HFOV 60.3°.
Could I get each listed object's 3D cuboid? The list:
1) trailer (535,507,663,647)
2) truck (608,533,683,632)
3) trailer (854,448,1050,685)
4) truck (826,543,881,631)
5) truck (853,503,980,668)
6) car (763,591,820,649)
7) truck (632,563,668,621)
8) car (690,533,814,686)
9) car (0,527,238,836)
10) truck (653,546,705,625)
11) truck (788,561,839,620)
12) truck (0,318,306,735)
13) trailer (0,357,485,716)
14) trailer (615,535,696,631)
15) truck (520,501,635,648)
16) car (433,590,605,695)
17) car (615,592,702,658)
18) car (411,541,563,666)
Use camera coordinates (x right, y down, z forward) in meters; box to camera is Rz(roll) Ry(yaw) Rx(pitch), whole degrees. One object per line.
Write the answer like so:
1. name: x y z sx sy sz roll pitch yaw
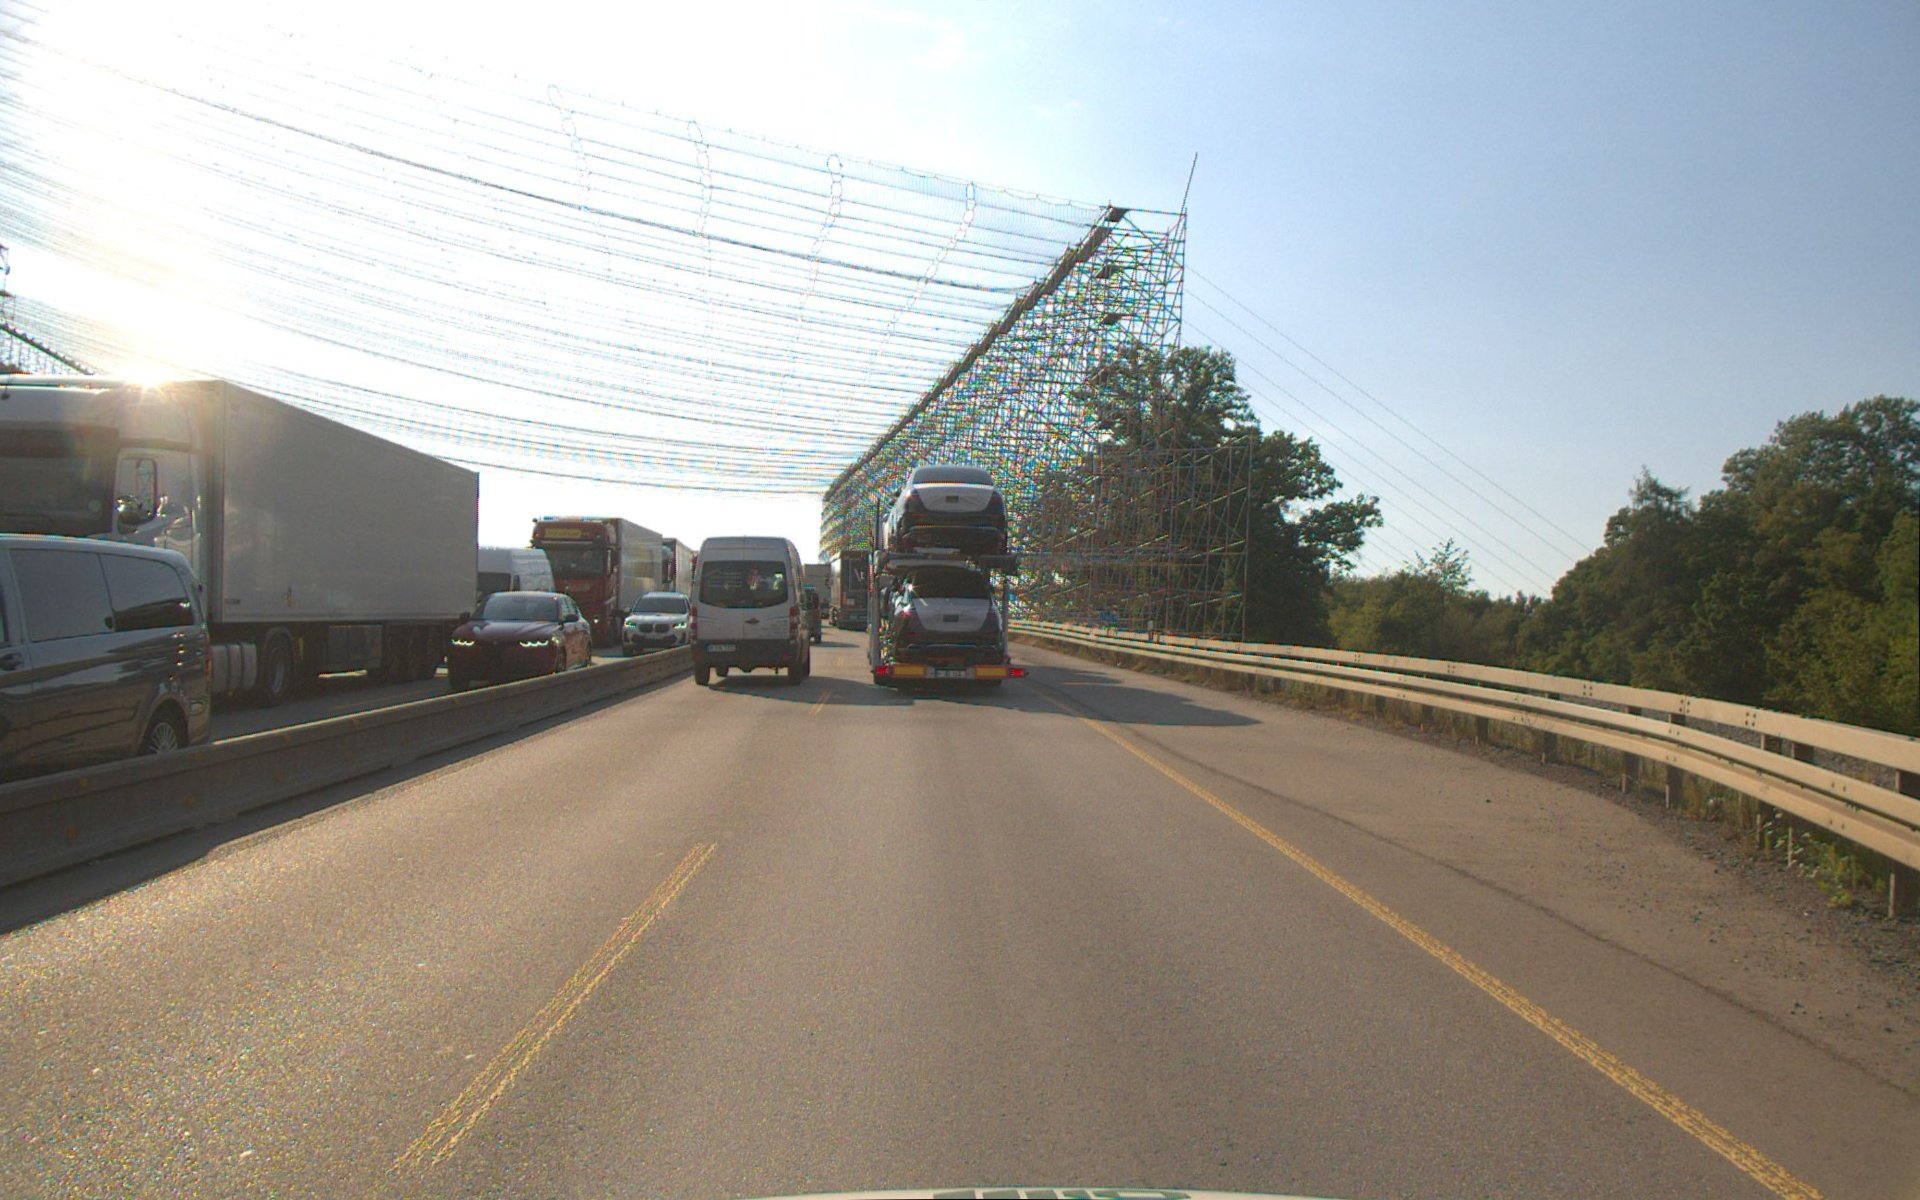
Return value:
1. trailer: -12.642 -0.691 59.204 2.712 4.409 13.865 1 0 -5
2. truck: -13.861 -0.728 73.310 2.734 4.214 5.925 1 0 -6
3. trailer: -0.601 -0.496 34.084 2.813 3.790 14.931 1 0 -5
4. truck: -5.832 -0.693 90.251 2.678 4.462 11.512 2 0 -4
5. truck: -1.238 -0.315 41.701 2.825 3.767 7.318 1 0 -4
6. car: -6.209 0.731 60.900 1.955 2.049 3.994 1 -1 -6
7. truck: -23.733 -0.632 126.518 2.615 4.304 6.087 1 0 -11
8. car: -3.825 0.104 31.030 1.917 2.666 3.999 1 2 -2
9. car: -6.515 0.446 10.402 1.768 1.803 5.450 1 1 -3
10. truck: -15.691 -0.783 92.596 2.736 4.214 6.664 1 0 -9
11. truck: -11.553 -0.783 131.596 3.615 4.294 13.657 -2 1 -4
12. truck: -10.211 -0.753 19.883 2.659 4.292 5.678 1 0 -4
13. trailer: -10.632 -0.721 26.754 2.667 4.292 13.738 1 0 -3
14. trailer: -14.571 -0.701 79.978 2.745 4.214 13.947 1 0 -6
15. truck: -12.037 -0.738 52.496 2.691 4.375 5.927 1 0 -5
16. car: -7.454 0.659 28.381 1.850 1.595 4.454 2 1 -2
17. car: -8.447 0.651 46.721 1.833 1.616 4.800 3 1 -4
18. car: -11.378 0.026 40.341 1.981 2.737 6.945 2 1 -3
